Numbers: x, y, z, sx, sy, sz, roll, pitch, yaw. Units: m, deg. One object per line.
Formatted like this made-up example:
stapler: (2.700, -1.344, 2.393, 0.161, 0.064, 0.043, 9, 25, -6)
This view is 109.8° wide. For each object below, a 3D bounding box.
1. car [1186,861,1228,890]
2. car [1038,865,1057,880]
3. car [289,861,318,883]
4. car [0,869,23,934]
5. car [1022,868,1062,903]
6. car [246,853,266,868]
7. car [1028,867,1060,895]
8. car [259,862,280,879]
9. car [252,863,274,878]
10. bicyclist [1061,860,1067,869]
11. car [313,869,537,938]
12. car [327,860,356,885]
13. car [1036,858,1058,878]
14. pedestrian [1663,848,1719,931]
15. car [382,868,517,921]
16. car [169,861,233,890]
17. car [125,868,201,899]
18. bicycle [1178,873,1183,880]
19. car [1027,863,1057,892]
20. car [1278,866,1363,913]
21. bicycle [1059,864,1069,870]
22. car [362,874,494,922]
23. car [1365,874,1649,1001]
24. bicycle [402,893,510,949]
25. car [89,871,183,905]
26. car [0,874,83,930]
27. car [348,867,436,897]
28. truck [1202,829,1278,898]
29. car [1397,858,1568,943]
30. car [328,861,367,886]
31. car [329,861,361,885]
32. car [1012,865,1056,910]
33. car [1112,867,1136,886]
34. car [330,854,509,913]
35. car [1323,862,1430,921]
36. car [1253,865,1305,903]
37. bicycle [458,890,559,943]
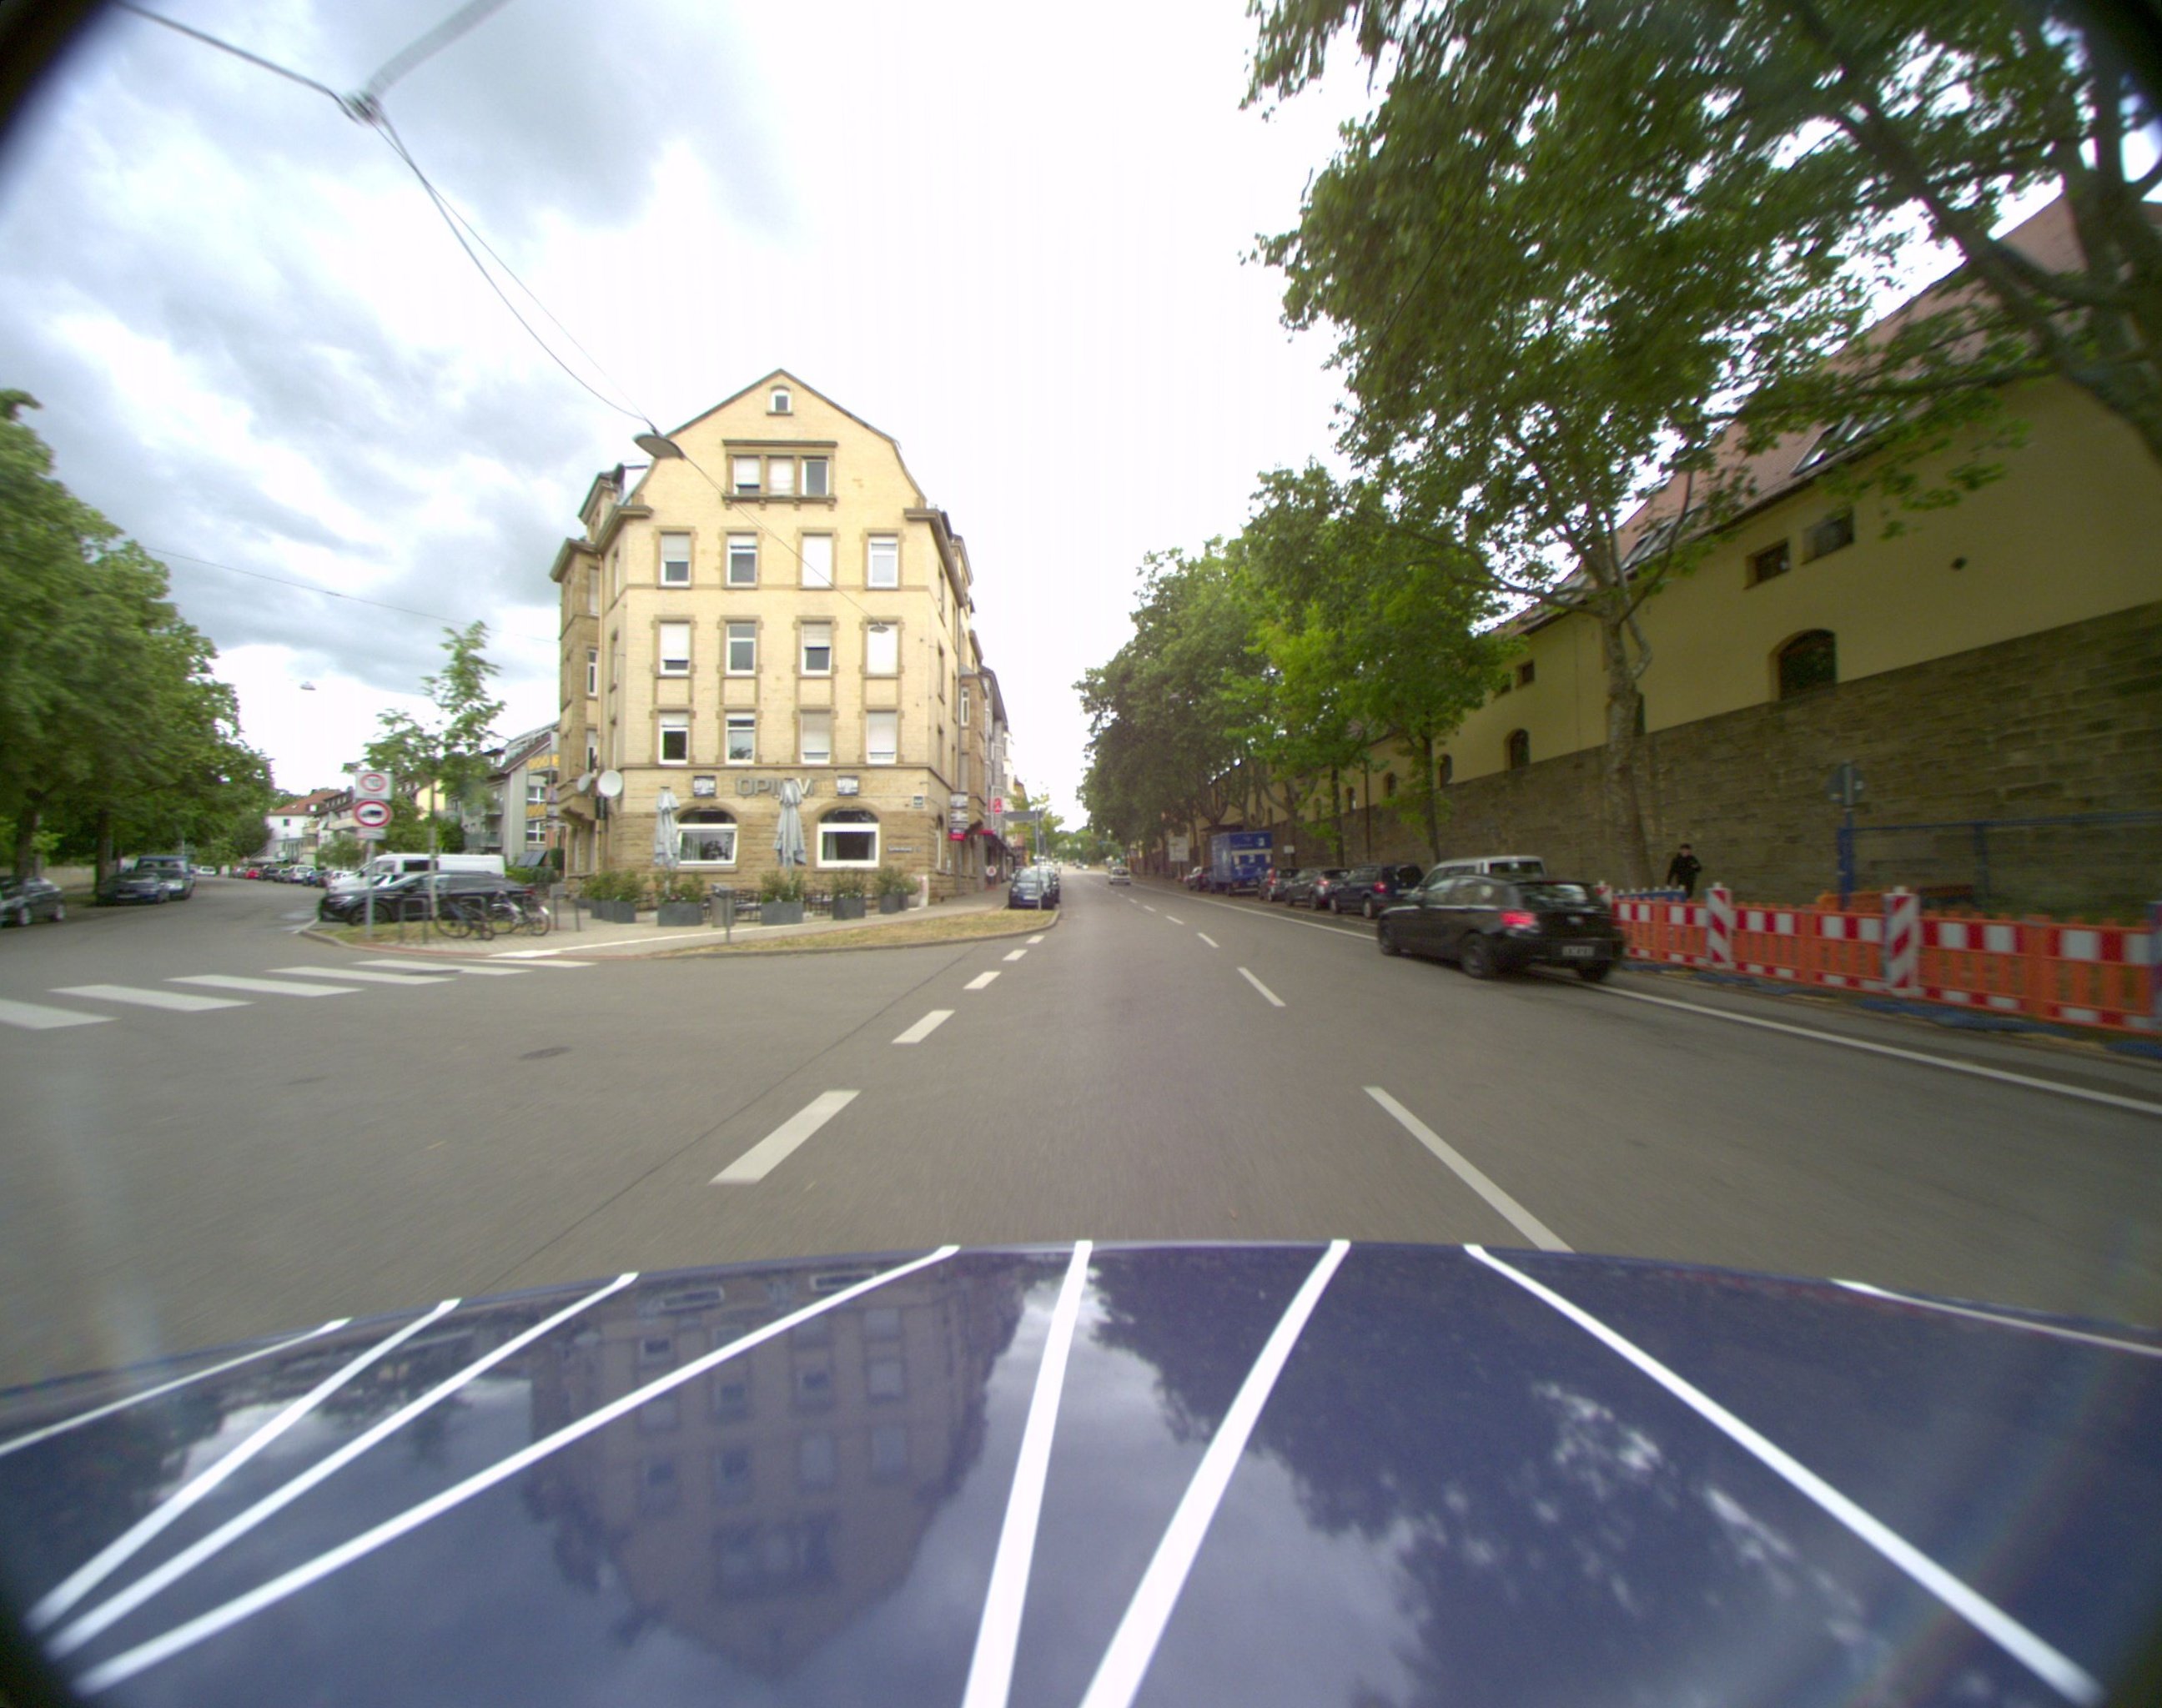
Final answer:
car: (8.114, 1.370, 49.316, 1.736, 1.679, 4.251, -3, 0, -3)
car: (-3.104, 1.711, 70.753, 1.688, 1.407, 4.041, 0, -1, -2)
car: (-76.619, 1.779, 74.912, 1.720, 2.002, 3.989, -3, 1, -44)
car: (-26.907, 1.176, 17.494, 2.004, 1.586, 4.360, 0, 0, -41)
car: (-1.844, 1.399, 35.341, 1.743, 1.454, 4.774, 1, -1, -4)
car: (-117.585, 0.931, 108.270, 3.989, 2.002, 1.820, -2, 1, 42)
car: (-2.020, 1.460, 41.698, 1.610, 1.389, 4.275, 1, -1, -3)
car: (-91.924, 1.869, 86.101, 3.468, 1.828, 1.511, -2, 1, 42)
car: (-101.781, 2.058, 94.543, 3.574, 1.750, 1.710, -2, 1, 42)
bicyclist: (-2.815, 1.765, 126.485, 0.748, 1.619, 0.683, 0, 0, 33)
car: (-17.762, 1.247, 20.731, 1.994, 1.586, 4.382, 0, 0, 41)
car: (-63.332, 1.587, 65.111, 1.700, 2.002, 3.729, -3, 1, -44)
car: (-3.470, 1.421, 76.723, 1.912, 1.919, 4.918, 0, -1, -5)
pedestrian: (13.600, 0.778, 16.964, 0.594, 1.789, 0.742, -3, 1, -1)
car: (-20.618, 1.283, 24.884, 1.544, 1.527, 3.166, -2, -1, 40)
car: (-51.587, 1.216, 44.644, 2.004, 1.586, 4.360, 0, 0, -43)
car: (-45.156, 1.423, 37.461, 4.117, 1.391, 2.004, -1, 0, 45)
bicycle: (11.945, 2.741, 91.542, 0.336, 0.840, 1.776, -1, 0, -2)
car: (-2.436, 1.404, 46.359, 1.684, 1.653, 4.542, 1, -1, -5)
car: (9.102, 1.290, 29.198, 1.598, 1.564, 4.085, -3, 0, -5)
bicycle: (-2.788, 2.194, 126.478, 1.716, 0.986, 0.369, 0, 0, 35)
car: (-22.650, 1.502, 26.433, 1.469, 1.393, 3.184, -2, 0, 38)
car: (5.899, 1.056, 11.211, 1.704, 1.417, 4.249, 0, 0, -2)
bicycle: (-13.044, 1.374, 15.850, 2.183, 1.060, 0.602, 0, 0, 16)
car: (-41.640, 1.440, 33.585, 2.004, 1.347, 4.230, 0, 0, -43)
car: (-30.388, 1.320, 21.556, 1.801, 1.427, 4.360, 0, 0, -43)
car: (-37.175, 1.506, 41.038, 1.544, 1.428, 3.301, -2, 0, 40)
truck: (8.724, 0.512, 42.534, 2.221, 3.396, 7.246, -3, 0, -3)
car: (9.715, 1.036, 18.857, 1.839, 1.865, 4.416, 0, 0, -1)
car: (-55.927, 1.504, 57.961, 2.004, 1.736, 3.989, -3, 0, -44)
car: (-59.056, 1.512, 60.972, 1.734, 1.802, 3.862, -3, 0, -44)
car: (-1.761, 1.223, 29.252, 1.569, 1.600, 3.654, 0, 0, -2)
car: (3.564, 1.831, 63.440, 1.587, 1.455, 3.651, 2, 0, -2)
car: (-27.601, 1.142, 31.939, 5.509, 2.278, 1.994, 0, 0, -42)
car: (9.309, 1.126, 24.283, 1.512, 1.622, 4.114, -3, 0, -4)
car: (9.076, 1.339, 35.014, 1.484, 1.564, 2.991, -3, 0, -1)
bicycle: (-12.697, 1.368, 16.847, 2.183, 1.060, 0.602, 0, 0, 16)
